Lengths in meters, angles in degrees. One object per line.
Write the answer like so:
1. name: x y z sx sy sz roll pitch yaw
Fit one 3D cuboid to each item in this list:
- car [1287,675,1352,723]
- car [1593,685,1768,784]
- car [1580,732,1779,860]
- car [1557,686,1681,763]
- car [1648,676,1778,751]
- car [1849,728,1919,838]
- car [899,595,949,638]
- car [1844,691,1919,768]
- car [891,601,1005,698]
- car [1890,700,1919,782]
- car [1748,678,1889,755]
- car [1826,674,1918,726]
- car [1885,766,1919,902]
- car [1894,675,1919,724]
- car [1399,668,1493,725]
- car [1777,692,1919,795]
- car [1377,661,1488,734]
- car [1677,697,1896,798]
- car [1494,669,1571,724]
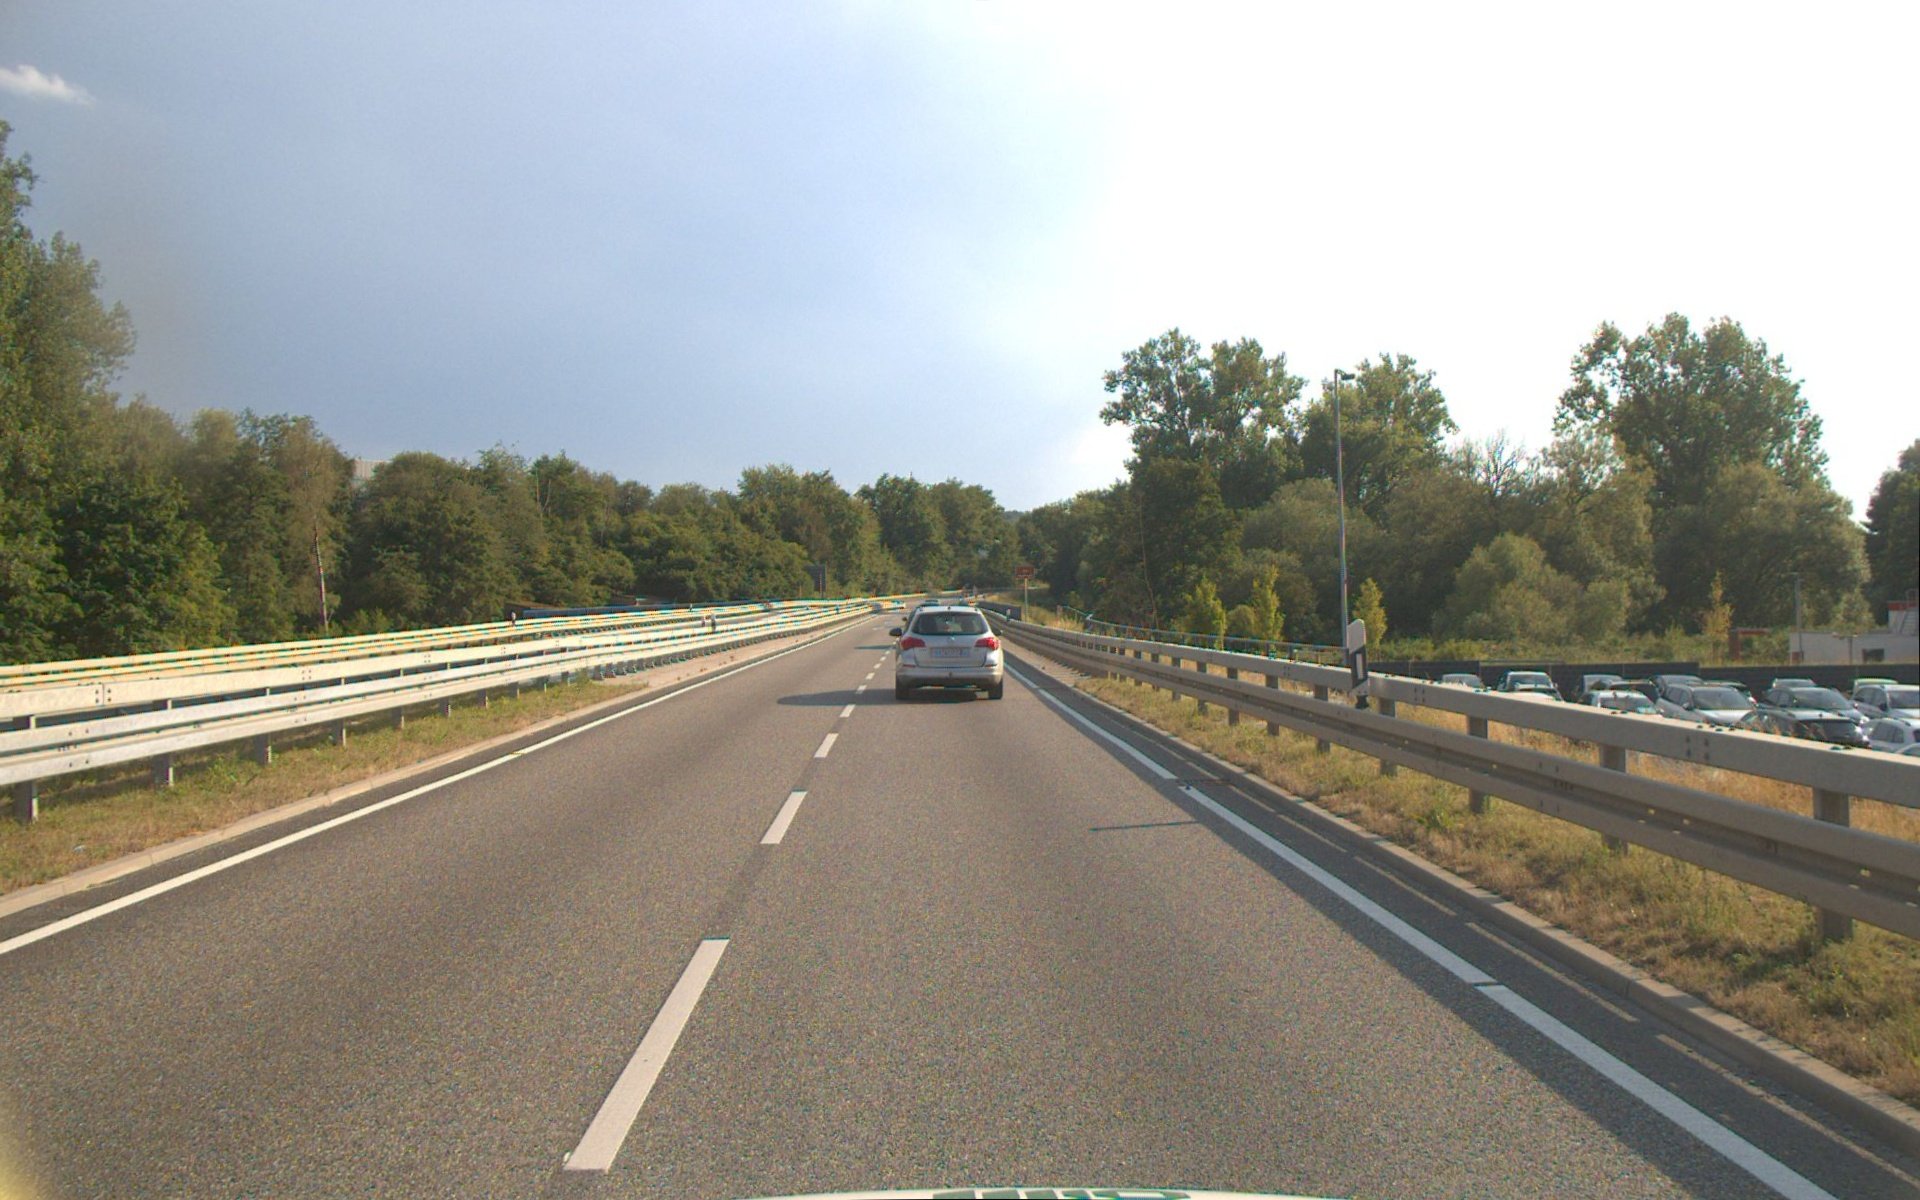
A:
1. car: 12.767 3.496 58.950 1.670 1.490 4.001 0 -1 3
2. car: 14.372 2.647 33.233 1.739 1.713 3.999 0 -1 -1
3. car: 11.875 3.195 27.564 1.579 1.708 3.835 0 -1 -1
4. car: 16.991 3.181 42.817 1.738 1.713 4.001 0 -1 2
5. car: 19.468 2.895 42.922 1.738 1.713 4.001 0 -1 3
6. car: 16.746 3.089 27.057 1.841 1.665 4.728 0 -1 -1
7. car: -1.330 0.599 60.772 1.772 1.512 3.998 0 -1 -2
8. car: 24.586 3.300 42.523 1.738 1.713 4.001 0 -1 3
9. car: -0.232 0.795 27.788 1.772 1.512 3.998 0 -1 -2
10. car: 21.142 2.985 33.629 1.841 1.665 4.729 0 -1 0
11. car: 21.936 2.938 42.433 1.738 1.713 4.001 0 -1 3
12. car: 29.737 3.227 54.038 1.669 1.490 4.003 0 -1 14
13. car: 13.031 2.974 19.299 1.841 1.654 4.729 0 -1 0
14. car: 31.731 3.247 53.472 1.669 1.490 4.003 0 -1 14
15. car: 14.340 2.823 48.981 1.671 1.490 4.000 0 -1 1
16. car: 18.763 2.854 33.713 1.798 1.746 4.665 0 -1 -2
17. car: 12.239 2.502 43.086 1.739 1.713 3.999 0 -1 -1
18. car: 16.638 2.917 33.611 1.959 1.679 4.727 0 -1 -2
19. car: 19.685 3.293 56.990 1.911 1.671 4.247 0 -1 11
